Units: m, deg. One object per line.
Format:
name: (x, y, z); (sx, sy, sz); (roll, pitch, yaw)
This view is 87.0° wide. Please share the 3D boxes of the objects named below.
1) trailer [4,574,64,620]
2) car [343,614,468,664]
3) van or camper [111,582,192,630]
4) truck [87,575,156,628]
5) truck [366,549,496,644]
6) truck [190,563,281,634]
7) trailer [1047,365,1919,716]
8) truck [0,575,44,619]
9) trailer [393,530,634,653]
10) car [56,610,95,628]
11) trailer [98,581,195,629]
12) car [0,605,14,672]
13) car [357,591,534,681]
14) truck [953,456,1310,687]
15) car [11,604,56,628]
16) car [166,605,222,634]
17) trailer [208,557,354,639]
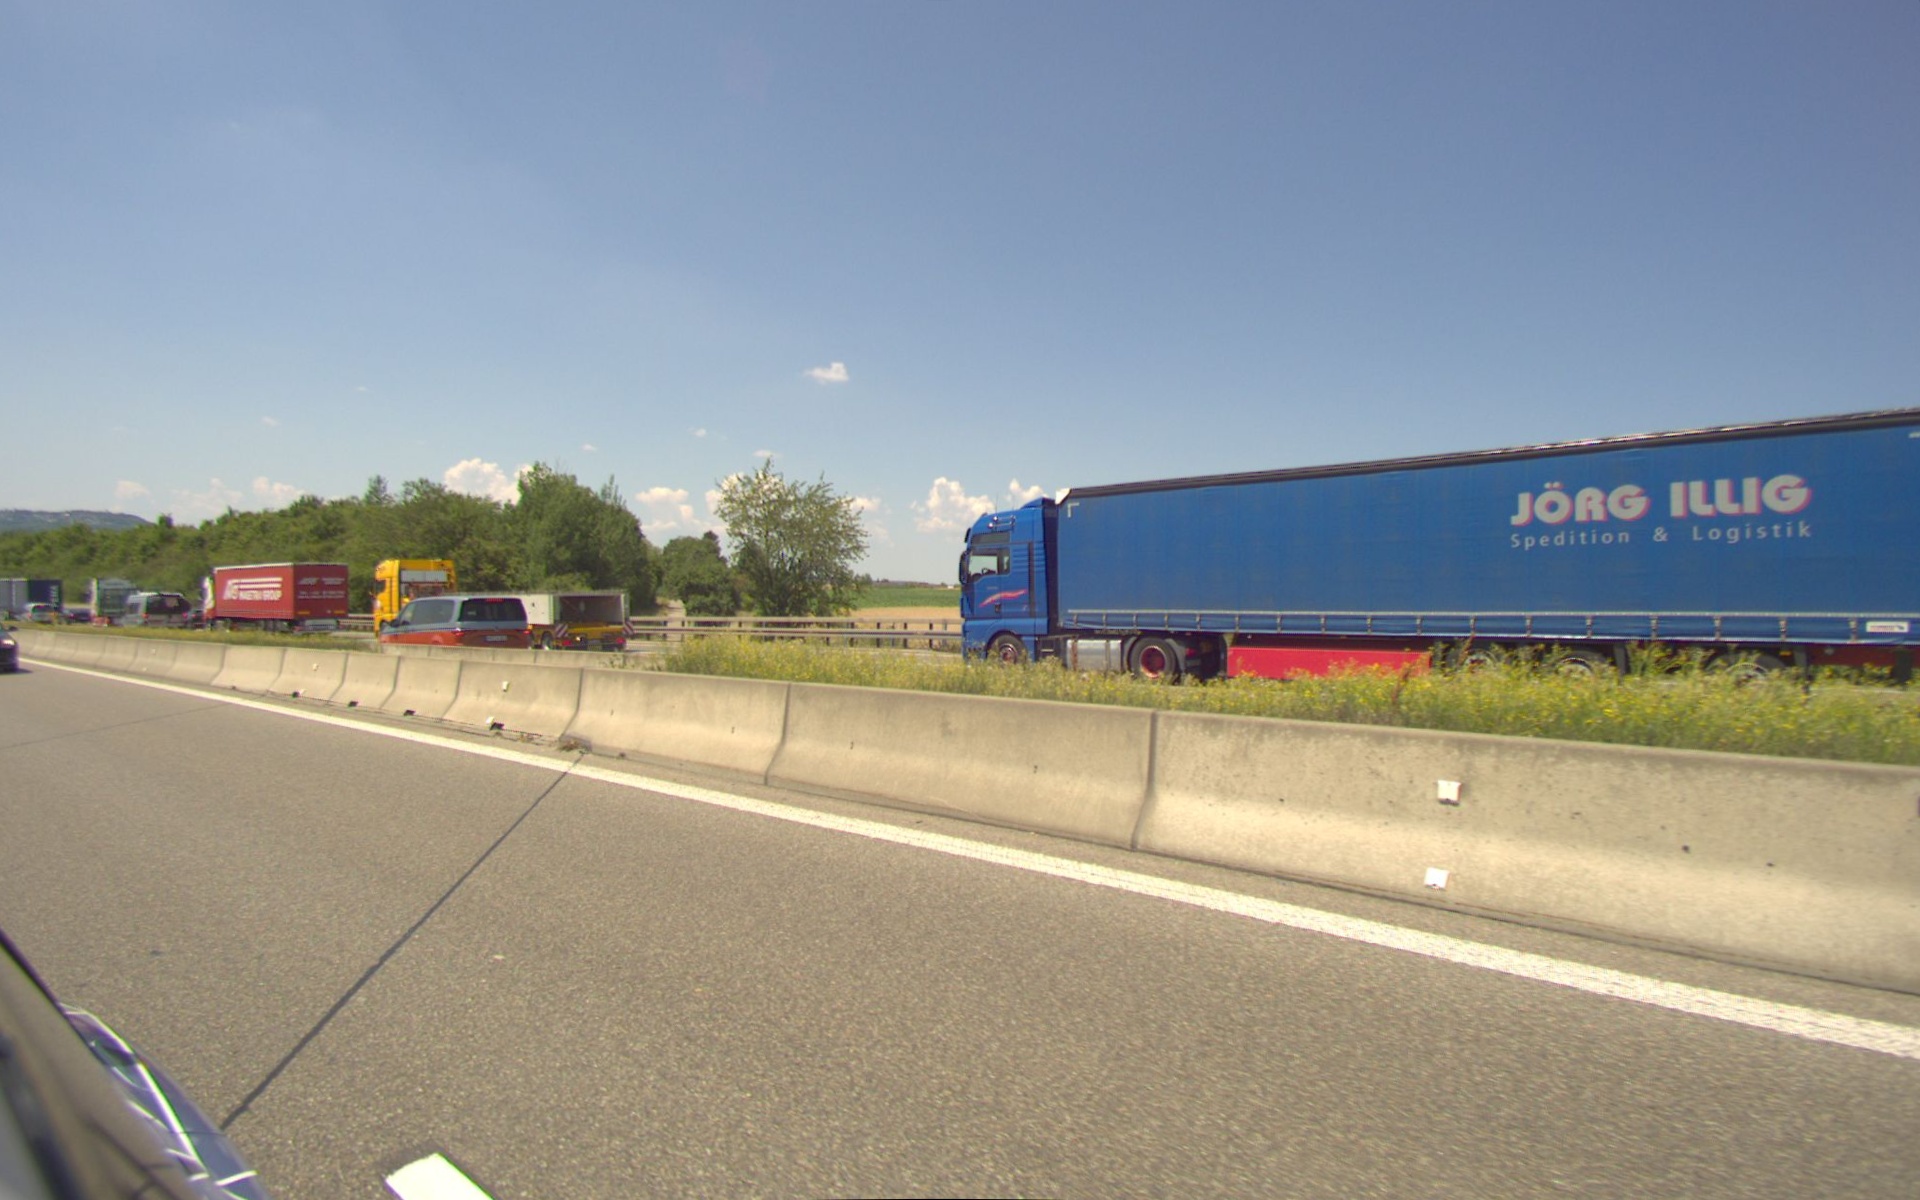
trailer: (-88.905, -0.272, 97.074); (8.584, 4.224, 2.957); (0, 0, 39)
car: (-19.395, 1.290, 35.285); (5.738, 1.553, 1.894); (0, 0, 40)
van or camper: (-46.756, 0.316, 58.462); (7.136, 2.606, 2.288); (0, 0, 40)
truck: (-64.889, 0.118, 78.307); (6.170, 3.906, 2.873); (0, 0, 38)
truck: (-23.469, -0.127, 44.752); (7.095, 3.866, 2.722); (-1, 0, 41)
truck: (-44.341, -0.095, 61.848); (6.309, 4.112, 3.005); (0, 0, 40)
trailer: (8.206, -0.729, 17.284); (14.376, 4.225, 3.128); (0, 1, 42)
truck: (-96.492, -0.290, 103.103); (10.719, 4.266, 2.972); (0, 0, 38)
trailer: (-18.046, -0.230, 39.921); (14.375, 4.131, 2.922); (-1, 0, 41)
car: (-75.274, 1.589, 86.075); (4.641, 1.442, 1.641); (0, 0, 38)
trailer: (-59.689, 0.333, 74.094); (12.767, 3.230, 2.830); (0, 0, 39)
car: (-24.231, 0.909, 24.250); (4.746, 1.555, 1.784); (-1, -1, 41)
car: (-12.711, 0.800, 24.829); (5.443, 1.985, 1.894); (0, 0, 40)
truck: (3.456, -0.510, 21.551); (6.932, 4.121, 3.044); (0, 0, 41)
car: (-74.322, 1.262, 81.149); (4.756, 1.785, 1.895); (0, 1, 38)
car: (-50.666, 1.285, 66.911); (4.599, 1.643, 1.820); (3, 2, 38)
trailer: (-38.401, -0.089, 56.866); (14.371, 4.131, 3.054); (0, 0, 40)
